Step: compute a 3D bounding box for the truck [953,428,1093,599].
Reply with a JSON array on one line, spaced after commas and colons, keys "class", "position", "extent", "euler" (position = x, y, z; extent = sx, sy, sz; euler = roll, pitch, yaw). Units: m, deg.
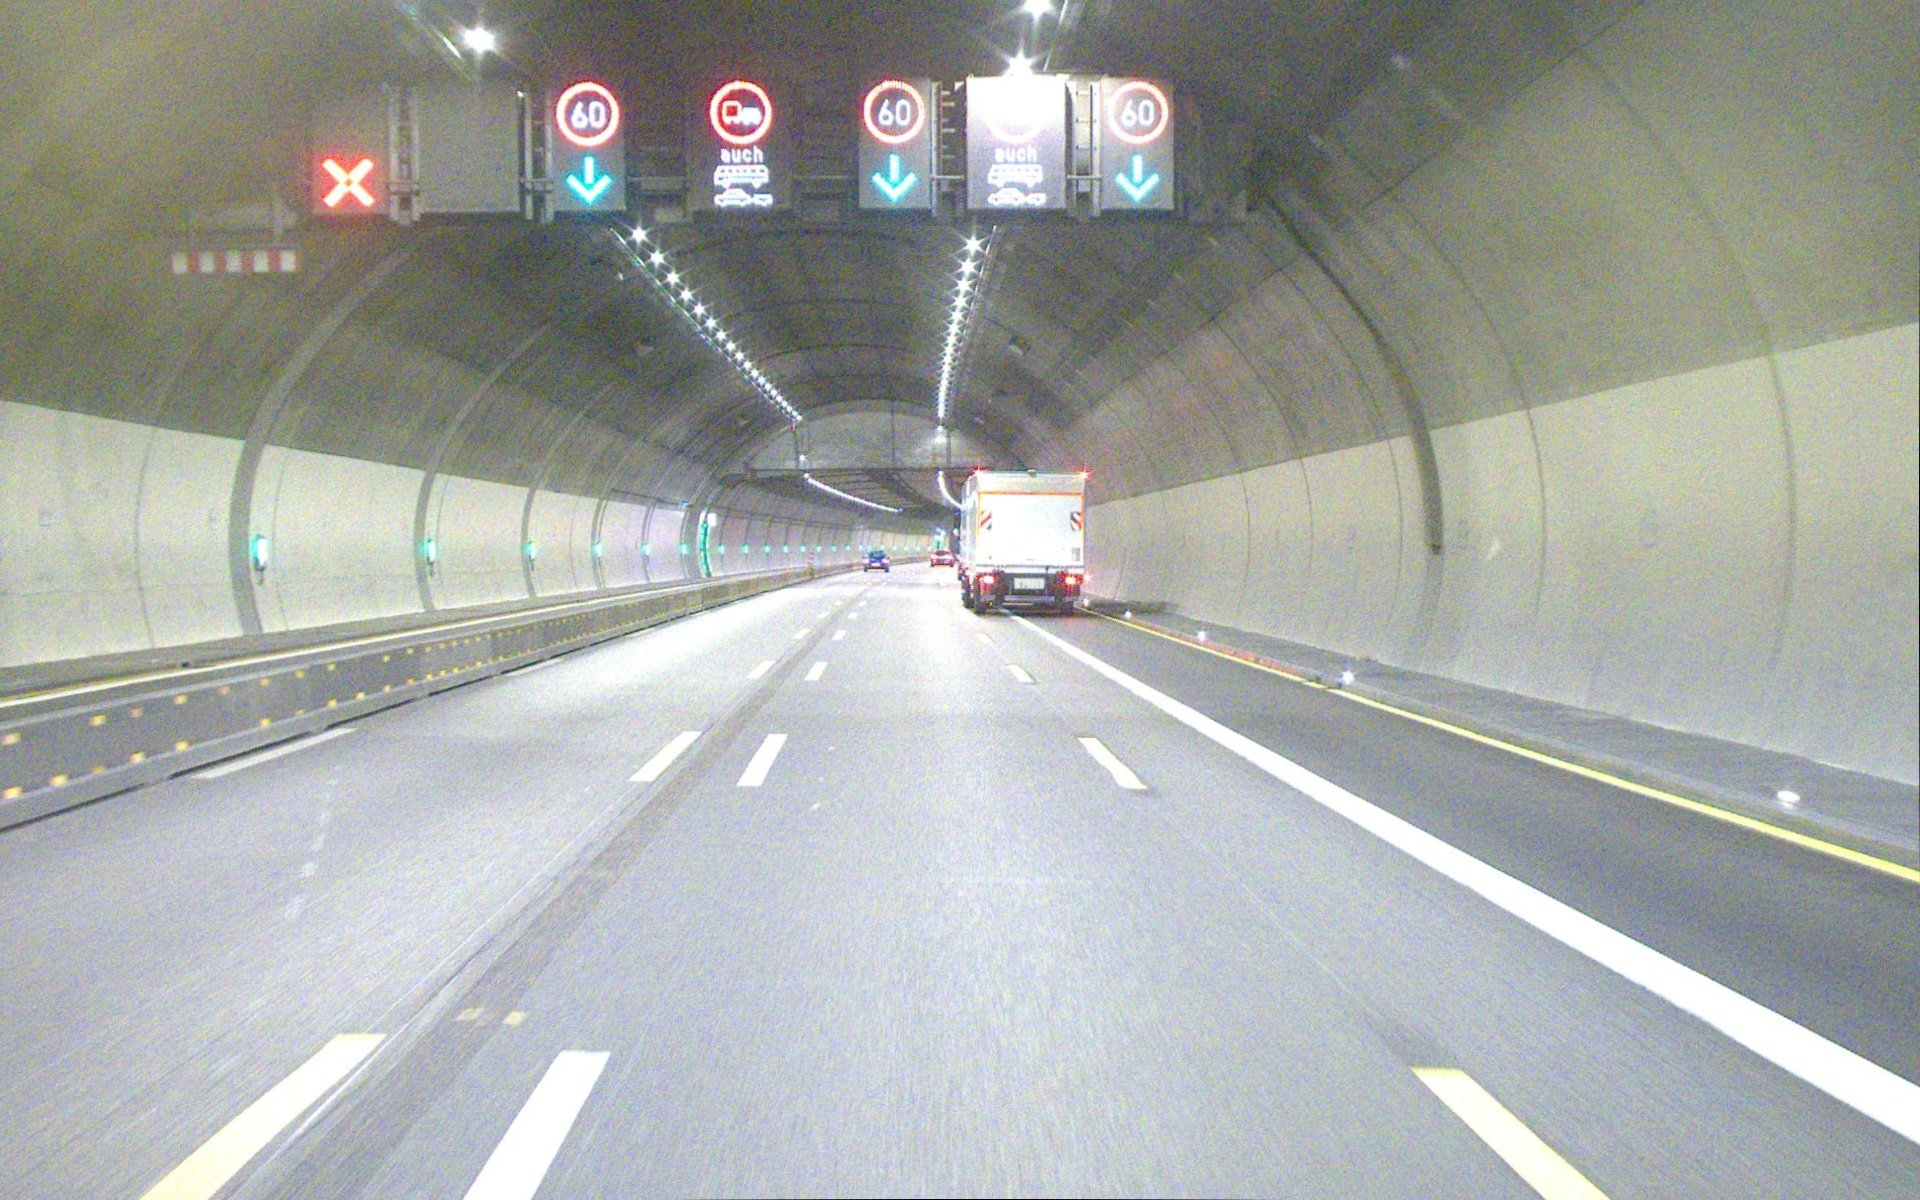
[{"class": "truck", "position": [1.450, -2.026, 84.825], "extent": [3.092, 3.904, 10.368], "euler": [-1, 0, -1]}]

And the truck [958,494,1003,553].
[{"class": "truck", "position": [1.462, -5.272, 240.244], "extent": [3.066, 3.904, 10.368], "euler": [-1, 0, 1]}]

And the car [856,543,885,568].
[{"class": "car", "position": [-5.702, -2.853, 219.932], "extent": [1.758, 1.456, 4.119], "euler": [-1, 2, 0]}]

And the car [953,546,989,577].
[{"class": "car", "position": [0.553, -1.934, 173.953], "extent": [1.739, 1.456, 3.960], "euler": [-1, 2, 1]}]
